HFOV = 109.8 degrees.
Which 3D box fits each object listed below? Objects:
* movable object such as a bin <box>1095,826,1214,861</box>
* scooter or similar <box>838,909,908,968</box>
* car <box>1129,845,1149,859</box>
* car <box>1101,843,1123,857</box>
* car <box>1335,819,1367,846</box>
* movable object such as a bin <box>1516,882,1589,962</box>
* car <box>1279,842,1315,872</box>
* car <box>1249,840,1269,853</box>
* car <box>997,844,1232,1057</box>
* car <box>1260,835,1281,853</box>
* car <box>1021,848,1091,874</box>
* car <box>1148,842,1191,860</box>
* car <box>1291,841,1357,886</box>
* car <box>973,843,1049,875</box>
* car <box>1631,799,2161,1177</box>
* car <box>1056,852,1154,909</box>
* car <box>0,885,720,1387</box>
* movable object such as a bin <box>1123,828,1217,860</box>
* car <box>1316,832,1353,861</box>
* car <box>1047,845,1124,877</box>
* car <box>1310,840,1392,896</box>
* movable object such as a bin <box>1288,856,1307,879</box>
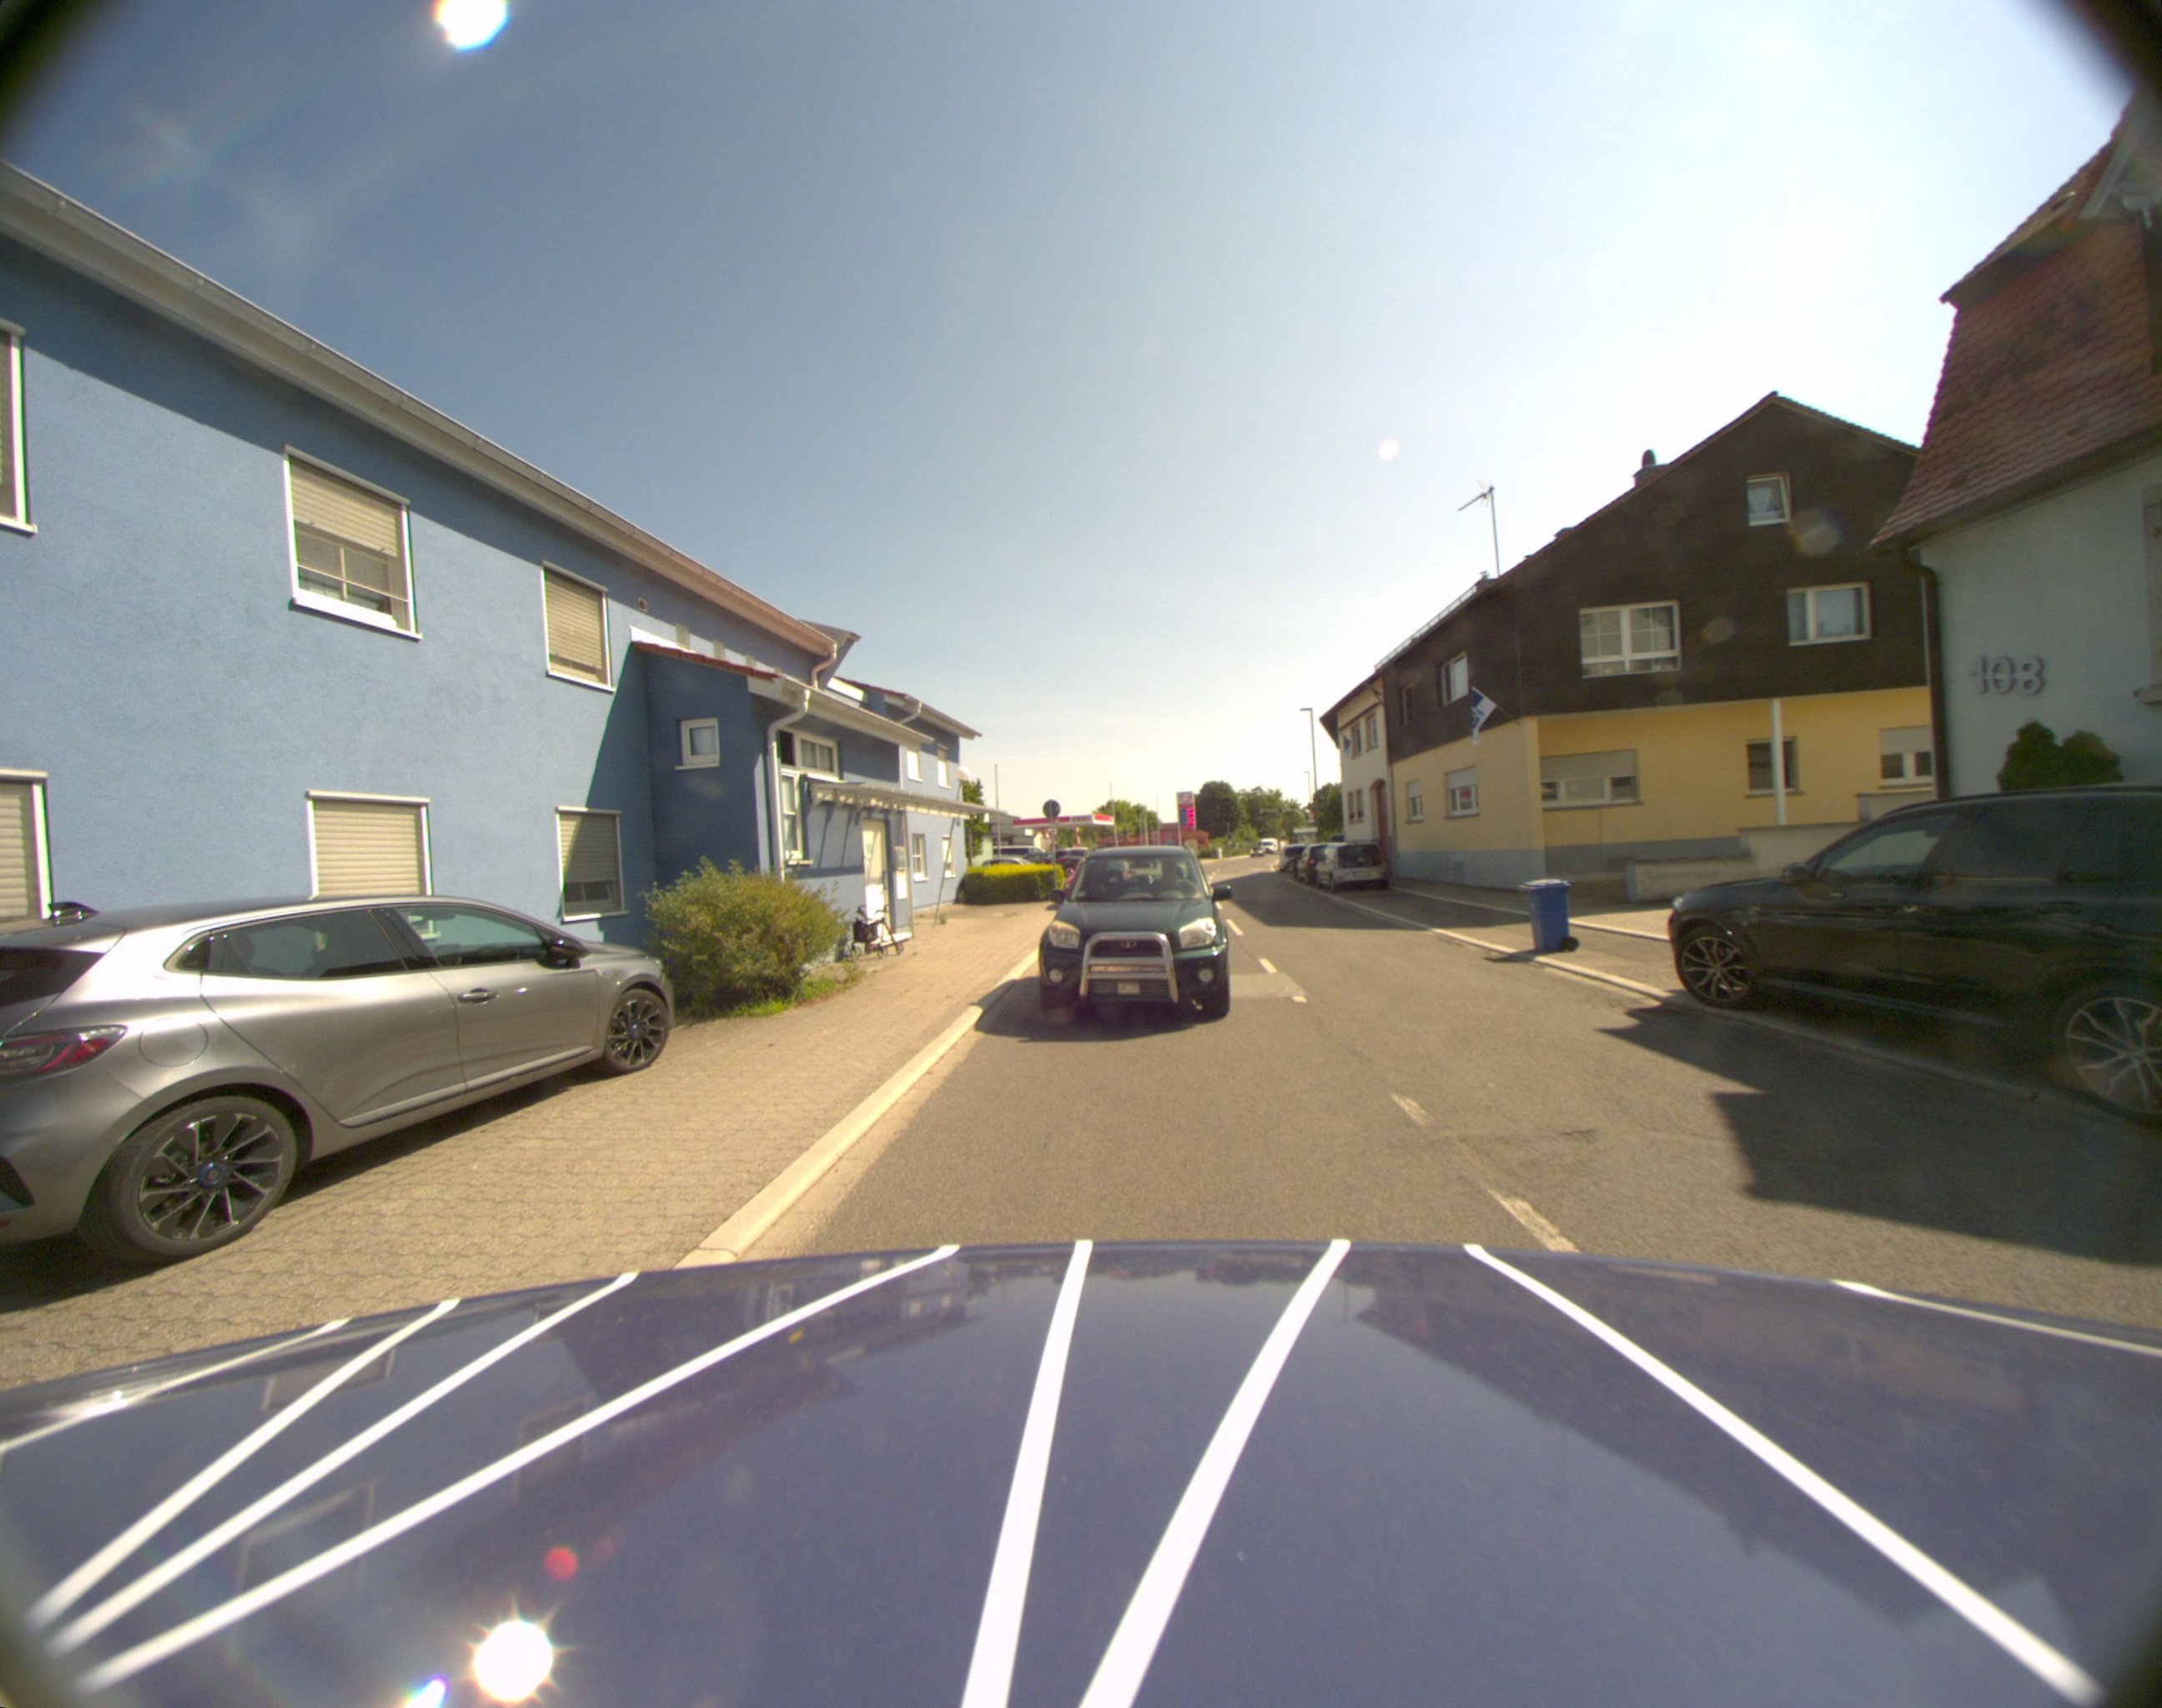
[{"bbox_3d":[10.101,-1.448,105.492,16.073,3.995,2.777,-3,1,17],"label":"movable object such as a bin"},{"bbox_3d":[-3.281,1.329,12.055,0.729,0.810,0.828,-3,1,11],"label":"scooter or similar"},{"bbox_3d":[7.340,-0.310,95.760,1.844,1.583,4.108,-3,1,11],"label":"car"},{"bbox_3d":[3.938,-0.516,96.375,2.002,1.583,4.341,-3,1,11],"label":"car"},{"bbox_3d":[23.701,-1.873,66.883,2.129,1.974,5.270,-8,-1,17],"label":"car"},{"bbox_3d":[6.215,0.887,10.041,0.598,0.976,0.531,-4,1,5],"label":"movable object such as a bin"},{"bbox_3d":[11.767,0.138,41.566,1.686,1.453,3.652,-4,1,14],"label":"car"},{"bbox_3d":[24.081,-1.048,102.714,1.843,1.583,4.111,-2,1,24],"label":"car"},{"bbox_3d":[0.576,0.807,8.328,1.847,1.686,4.401,-2,0,8],"label":"car"},{"bbox_3d":[28.767,-1.492,115.151,1.935,2.488,5.846,-2,1,24],"label":"car"},{"bbox_3d":[-1.710,0.463,52.148,4.320,1.541,1.981,-3,1,-19],"label":"car"},{"bbox_3d":[8.621,-0.253,74.391,1.777,1.546,4.172,-3,1,-34],"label":"car"},{"bbox_3d":[9.217,0.293,29.110,1.681,1.429,3.998,-6,0,9],"label":"car"},{"bbox_3d":[-5.127,0.356,55.015,5.286,2.002,2.230,-3,1,-9],"label":"car"},{"bbox_3d":[6.025,0.568,4.790,1.924,1.658,4.666,-5,0,5],"label":"car"},{"bbox_3d":[0.821,0.805,22.104,1.734,1.485,4.362,-1,-3,17],"label":"car"},{"bbox_3d":[-4.181,1.057,4.444,1.693,1.412,4.147,-4,1,7],"label":"car"},{"bbox_3d":[13.168,-1.468,112.806,13.271,4.141,2.866,-3,1,17],"label":"movable object such as a bin"},{"bbox_3d":[18.282,-0.580,54.721,1.839,1.782,4.349,-6,-1,26],"label":"car"},{"bbox_3d":[0.266,0.422,44.618,4.117,1.644,1.828,-3,1,-20],"label":"car"},{"bbox_3d":[8.504,0.376,24.230,1.644,1.492,3.783,-5,0,9],"label":"car"},{"bbox_3d":[9.338,0.574,32.792,0.552,0.923,0.826,-7,0,3],"label":"movable object such as a bin"}]
